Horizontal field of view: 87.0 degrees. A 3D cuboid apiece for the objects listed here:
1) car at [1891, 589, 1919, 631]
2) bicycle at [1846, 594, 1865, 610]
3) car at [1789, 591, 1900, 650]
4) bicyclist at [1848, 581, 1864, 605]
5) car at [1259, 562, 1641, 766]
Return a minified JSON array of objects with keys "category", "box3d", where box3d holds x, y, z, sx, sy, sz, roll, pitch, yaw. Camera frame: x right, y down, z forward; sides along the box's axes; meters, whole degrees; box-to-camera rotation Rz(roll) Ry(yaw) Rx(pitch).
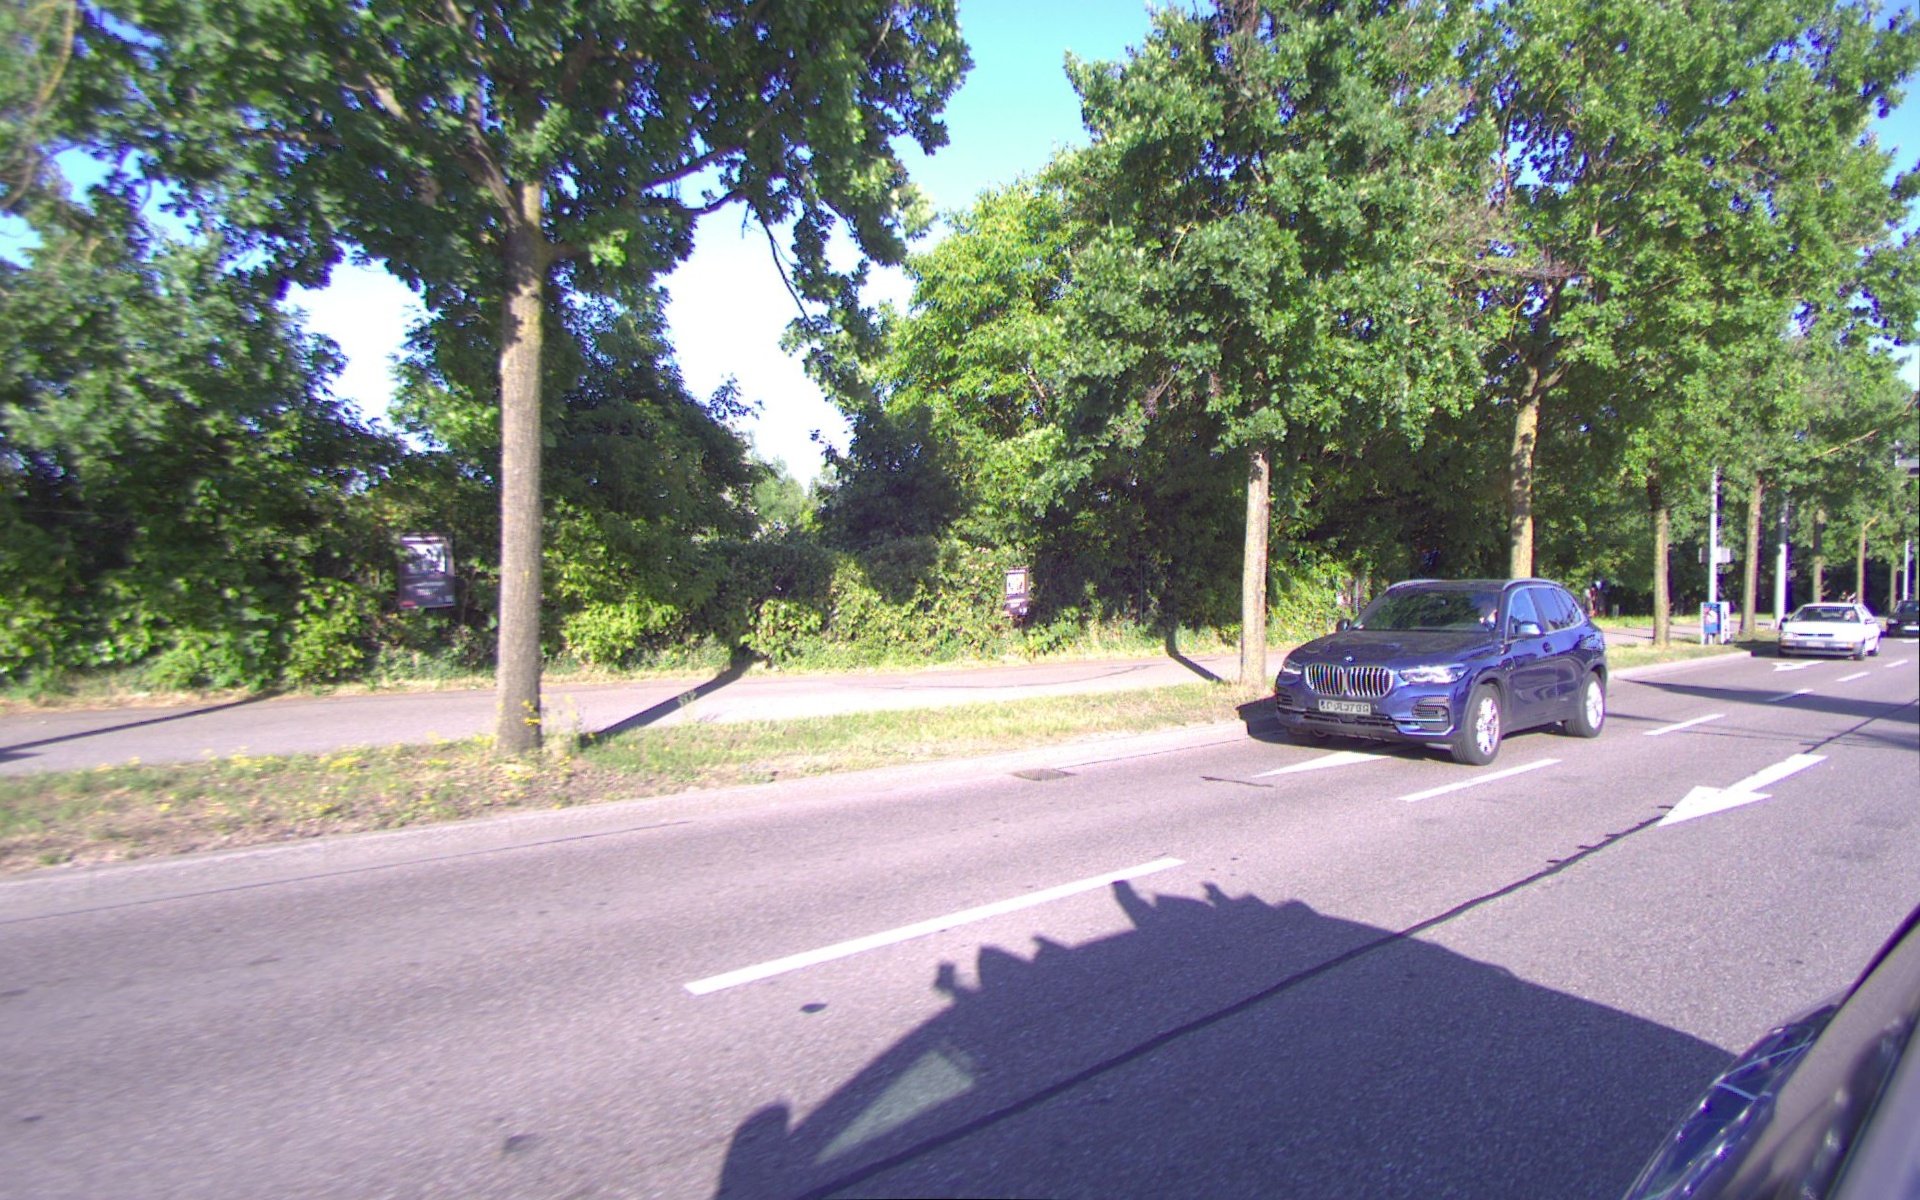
[{"category":"car","box3d":[36.773,0.366,38.364,4.140,1.518,1.724,0,0,-41]},{"category":"bicycle","box3d":[56.606,0.120,63.969,1.788,0.986,0.618,0,1,-38]},{"category":"car","box3d":[23.068,0.528,26.349,3.967,1.416,1.614,2,0,-41]},{"category":"bicyclist","box3d":[56.627,-0.444,63.975,0.832,1.520,0.614,1,0,-38]},{"category":"car","box3d":[5.410,0.519,10.905,4.615,1.748,1.959,-1,1,-39]}]
